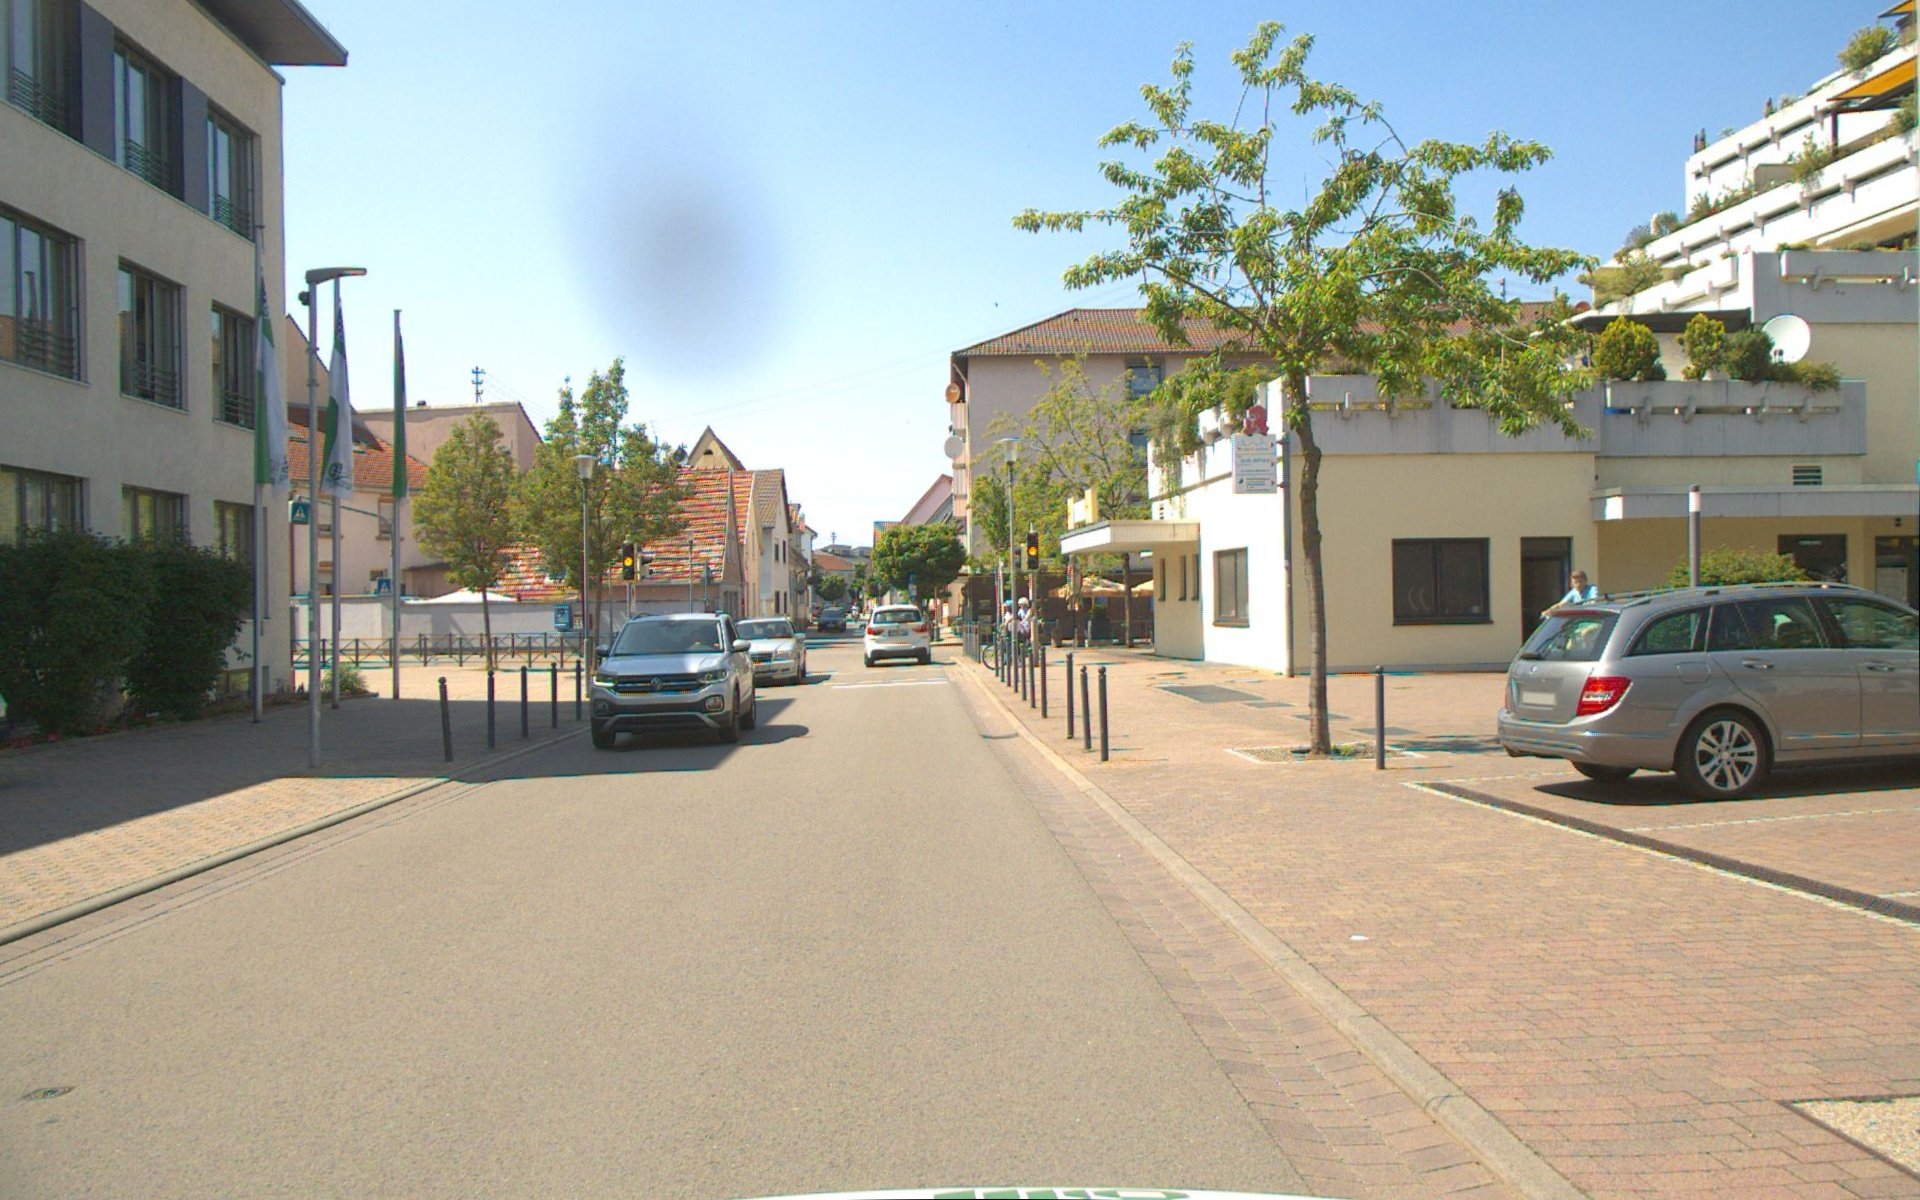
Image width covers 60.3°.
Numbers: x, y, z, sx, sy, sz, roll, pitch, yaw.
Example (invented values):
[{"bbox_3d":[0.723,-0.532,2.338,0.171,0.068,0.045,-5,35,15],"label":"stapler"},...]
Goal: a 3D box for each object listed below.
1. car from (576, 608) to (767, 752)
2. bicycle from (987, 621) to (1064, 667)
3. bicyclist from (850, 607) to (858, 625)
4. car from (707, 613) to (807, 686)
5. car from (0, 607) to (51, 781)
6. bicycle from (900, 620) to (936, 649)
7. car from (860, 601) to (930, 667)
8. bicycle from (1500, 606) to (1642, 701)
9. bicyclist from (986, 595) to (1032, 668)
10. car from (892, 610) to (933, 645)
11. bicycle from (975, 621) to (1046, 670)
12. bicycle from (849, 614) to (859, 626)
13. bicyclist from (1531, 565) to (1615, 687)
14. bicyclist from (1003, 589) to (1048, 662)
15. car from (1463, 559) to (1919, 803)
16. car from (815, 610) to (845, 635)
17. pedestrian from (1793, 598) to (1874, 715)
[{"bbox_3d":[-3.531,0.922,20.899,1.814,1.601,3.998,-1,0,-2],"label":"car"},{"bbox_3d":[1.570,1.042,39.574,1.880,0.974,0.665,-3,0,-42],"label":"bicycle"},{"bbox_3d":[-9.101,1.350,141.907,0.659,1.509,0.770,-1,-1,0],"label":"bicyclist"},{"bbox_3d":[-4.483,1.069,37.091,1.843,1.490,4.433,-1,0,-3],"label":"car"},{"bbox_3d":[-10.933,0.854,14.762,4.417,1.581,2.146,0,-1,-4],"label":"car"},{"bbox_3d":[-1.767,1.445,69.490,0.523,1.214,1.647,0,-1,-45],"label":"bicycle"},{"bbox_3d":[-1.760,0.901,45.602,1.797,1.681,3.999,-2,0,-1],"label":"car"},{"bbox_3d":[8.104,0.698,21.923,1.869,1.128,0.669,-3,0,-29],"label":"bicycle"},{"bbox_3d":[1.118,0.717,37.900,0.657,1.609,0.759,-3,0,35],"label":"bicyclist"},{"bbox_3d":[-2.228,1.281,78.348,1.768,1.528,4.000,-1,0,0],"label":"car"},{"bbox_3d":[1.177,1.035,37.953,0.662,0.974,1.890,-3,0,35],"label":"bicycle"},{"bbox_3d":[-9.085,1.716,142.038,0.650,1.024,1.897,-1,0,1],"label":"bicycle"},{"bbox_3d":[8.136,0.339,21.948,0.751,1.553,0.664,-3,0,-29],"label":"bicyclist"},{"bbox_3d":[1.578,0.617,39.594,0.755,1.693,0.661,-3,0,-42],"label":"bicyclist"},{"bbox_3d":[6.385,0.515,12.536,4.491,1.539,1.913,-3,-1,-9],"label":"car"},{"bbox_3d":[-8.552,1.481,108.914,1.679,1.543,3.786,-1,0,0],"label":"car"},{"bbox_3d":[11.712,0.748,22.196,0.781,1.548,0.707,-1,0,13],"label":"pedestrian"}]
